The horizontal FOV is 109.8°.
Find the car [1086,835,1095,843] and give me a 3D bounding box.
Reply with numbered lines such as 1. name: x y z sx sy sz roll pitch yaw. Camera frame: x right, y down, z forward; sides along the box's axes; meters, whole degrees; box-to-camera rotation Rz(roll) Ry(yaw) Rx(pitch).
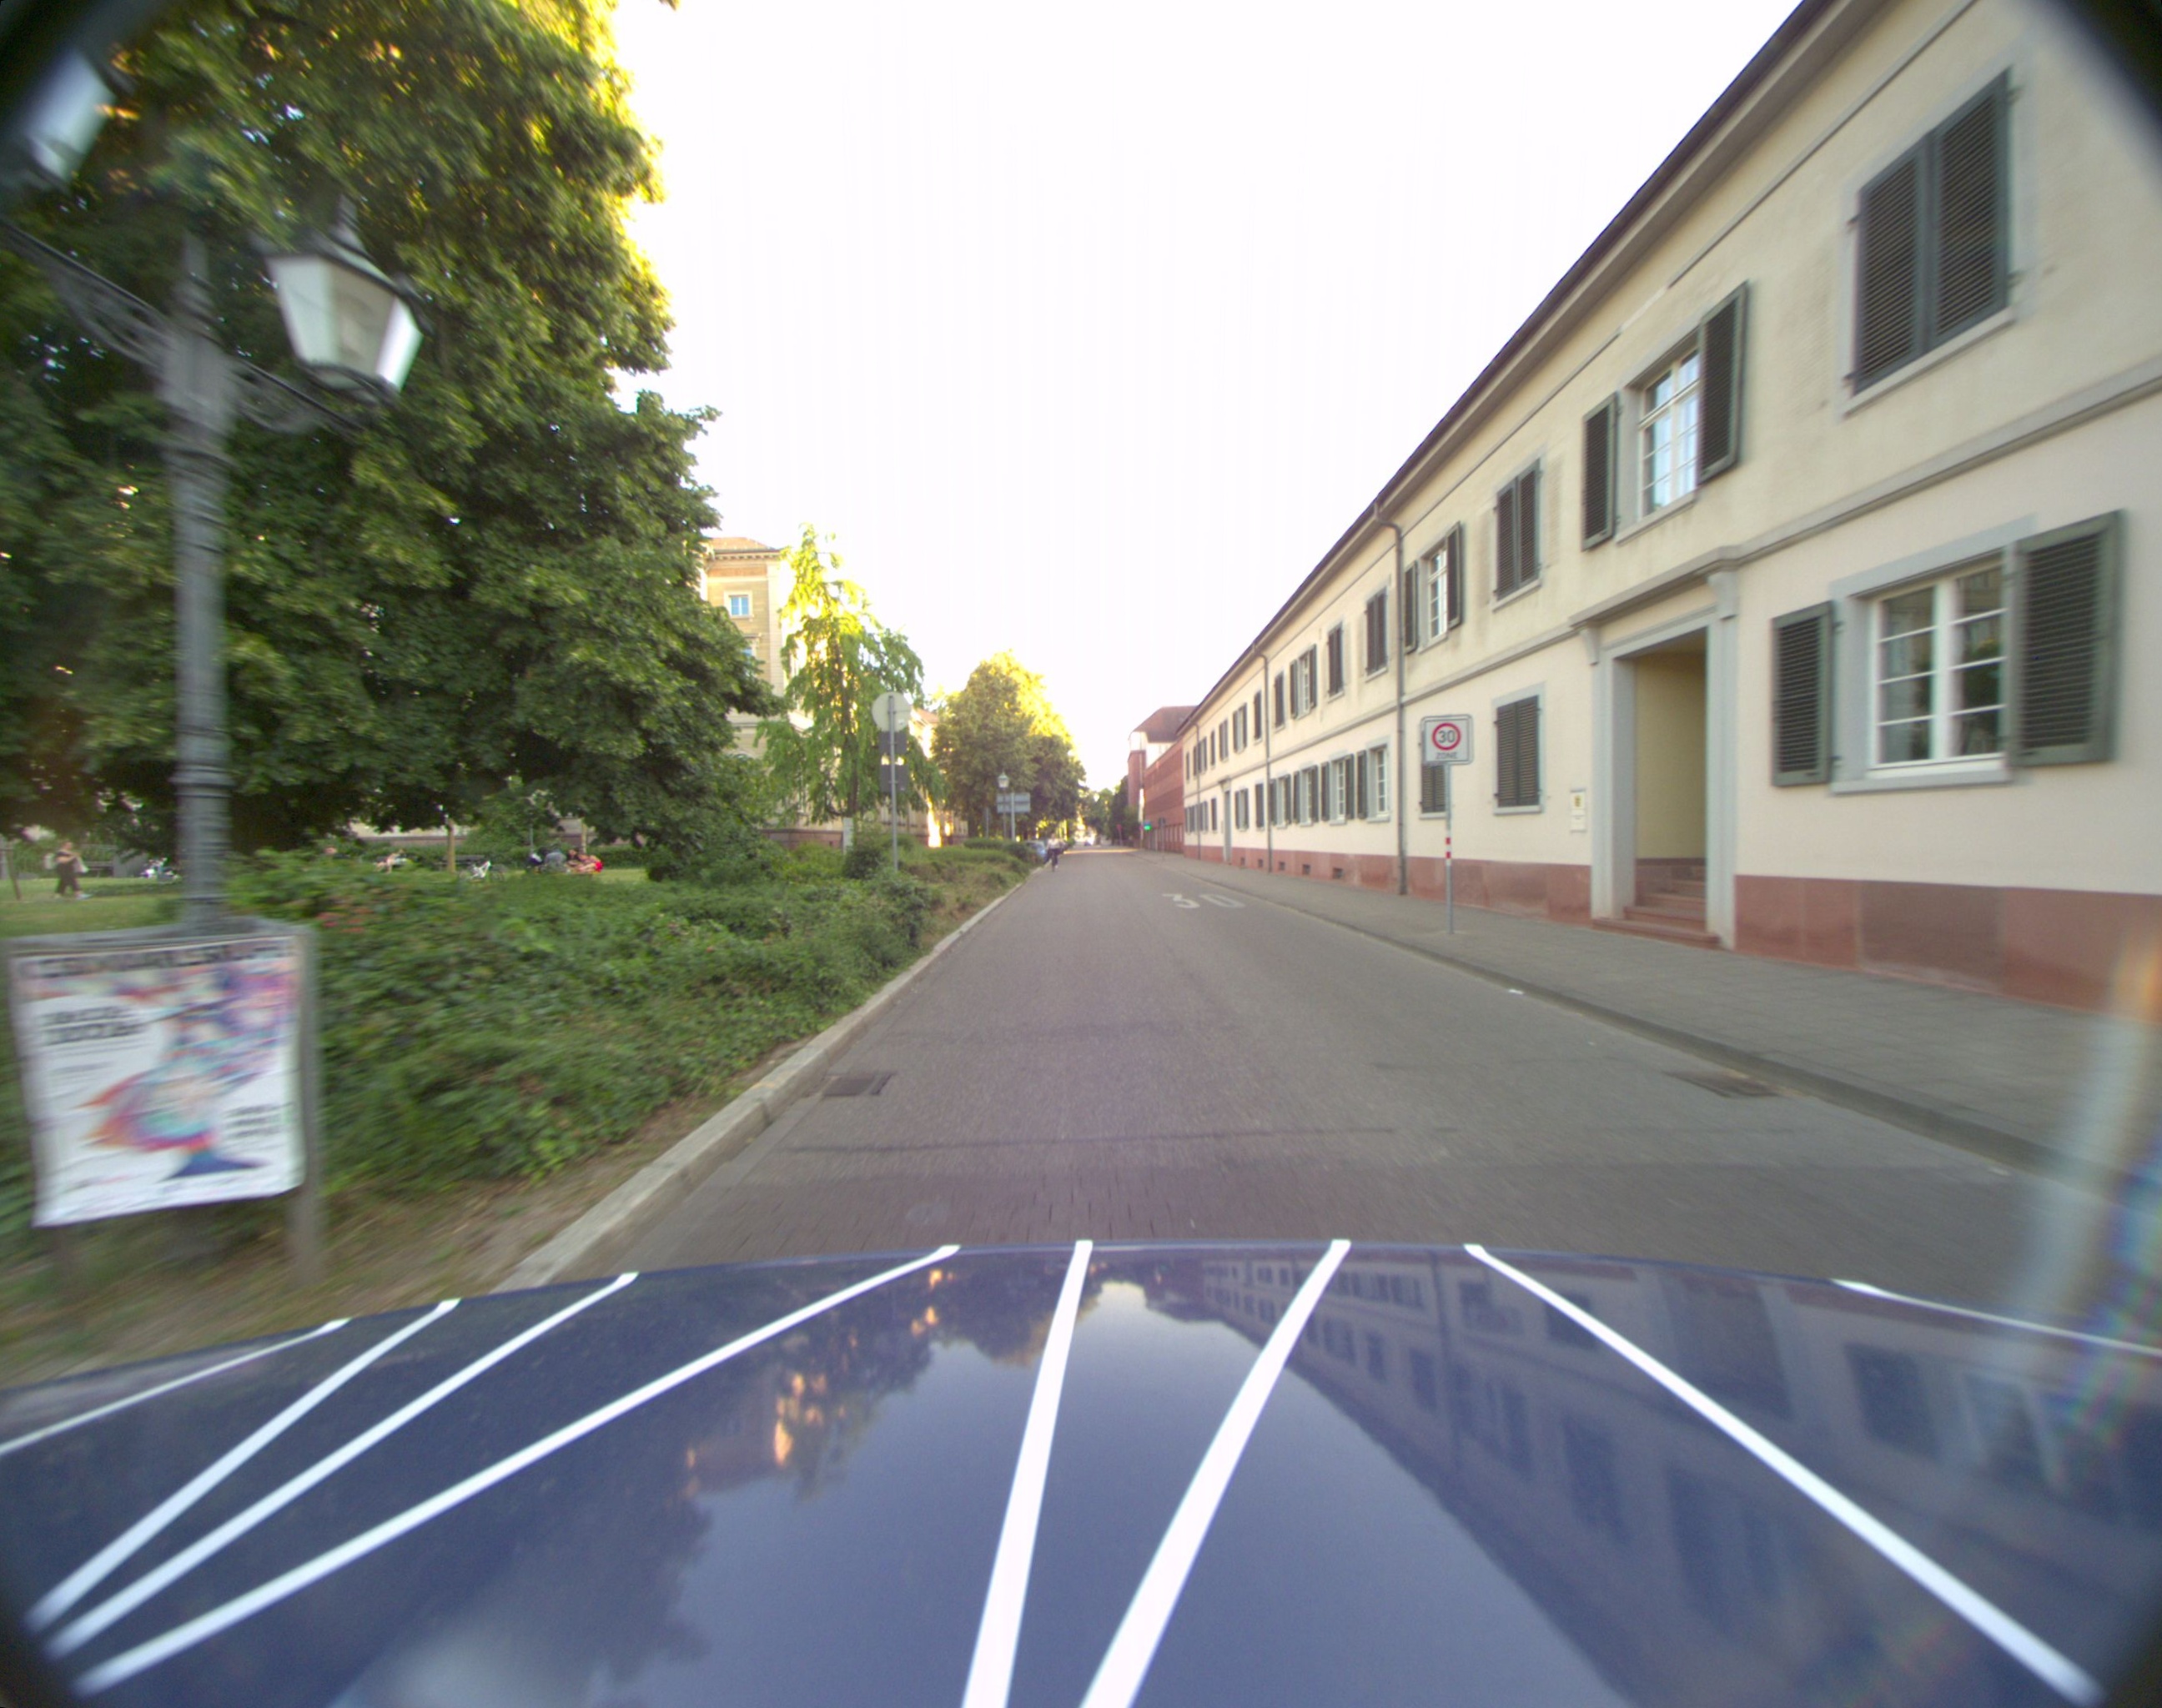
1. car: 2.293 -3.714 185.478 1.998 1.863 5.109 -1 0 0

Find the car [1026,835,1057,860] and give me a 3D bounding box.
1. car: -2.805 -0.515 55.150 1.728 1.642 4.712 0 2 3

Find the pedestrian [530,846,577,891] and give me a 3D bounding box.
1. pedestrian: -14.384 0.393 20.742 0.724 1.185 0.747 0 2 3

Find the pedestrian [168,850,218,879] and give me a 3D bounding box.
1. pedestrian: -43.825 0.498 37.530 0.695 1.389 1.452 0 2 1

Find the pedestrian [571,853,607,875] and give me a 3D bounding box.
1. pedestrian: -13.915 0.281 21.521 0.542 0.546 1.375 2 1 -19

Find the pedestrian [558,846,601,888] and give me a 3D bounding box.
1. pedestrian: -14.582 0.366 22.106 0.663 1.185 0.796 1 2 28

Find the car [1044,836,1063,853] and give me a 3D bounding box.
1. car: -2.809 -0.981 77.554 1.739 1.498 4.520 3 2 0

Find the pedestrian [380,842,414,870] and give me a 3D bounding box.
1. pedestrian: -33.816 0.095 37.572 0.695 1.389 1.044 0 2 1

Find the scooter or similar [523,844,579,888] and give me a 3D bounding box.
1. scooter or similar: -15.398 0.337 22.092 1.221 1.238 0.417 -1 2 -16

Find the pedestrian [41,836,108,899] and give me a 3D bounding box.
1. pedestrian: -28.263 0.364 21.355 0.773 1.737 0.758 -1 2 -3

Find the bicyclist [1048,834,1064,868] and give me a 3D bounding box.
1. bicyclist: -1.180 -0.156 36.053 0.753 1.603 1.038 0 1 -2

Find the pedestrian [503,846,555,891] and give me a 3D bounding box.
1. pedestrian: -15.159 0.388 20.885 0.808 1.185 0.789 0 2 3

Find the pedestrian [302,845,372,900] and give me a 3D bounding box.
1. pedestrian: -18.971 0.453 19.410 0.920 1.340 0.883 -1 2 -15

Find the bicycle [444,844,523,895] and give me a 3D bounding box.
1. bicycle: -16.323 0.384 20.820 0.621 1.292 2.017 -1 2 -4

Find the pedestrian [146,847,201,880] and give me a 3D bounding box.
1. pedestrian: -44.915 0.461 37.626 0.802 1.547 1.567 0 2 1

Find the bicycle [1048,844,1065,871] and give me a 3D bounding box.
1. bicycle: -1.174 0.145 36.043 0.753 1.245 2.209 0 1 -2

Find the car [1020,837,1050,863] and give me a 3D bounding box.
1. car: -2.926 -0.288 49.407 1.728 1.480 4.608 3 2 -1

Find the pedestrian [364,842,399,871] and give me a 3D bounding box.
1. pedestrian: -34.698 0.127 37.715 0.695 1.389 1.044 0 2 1
